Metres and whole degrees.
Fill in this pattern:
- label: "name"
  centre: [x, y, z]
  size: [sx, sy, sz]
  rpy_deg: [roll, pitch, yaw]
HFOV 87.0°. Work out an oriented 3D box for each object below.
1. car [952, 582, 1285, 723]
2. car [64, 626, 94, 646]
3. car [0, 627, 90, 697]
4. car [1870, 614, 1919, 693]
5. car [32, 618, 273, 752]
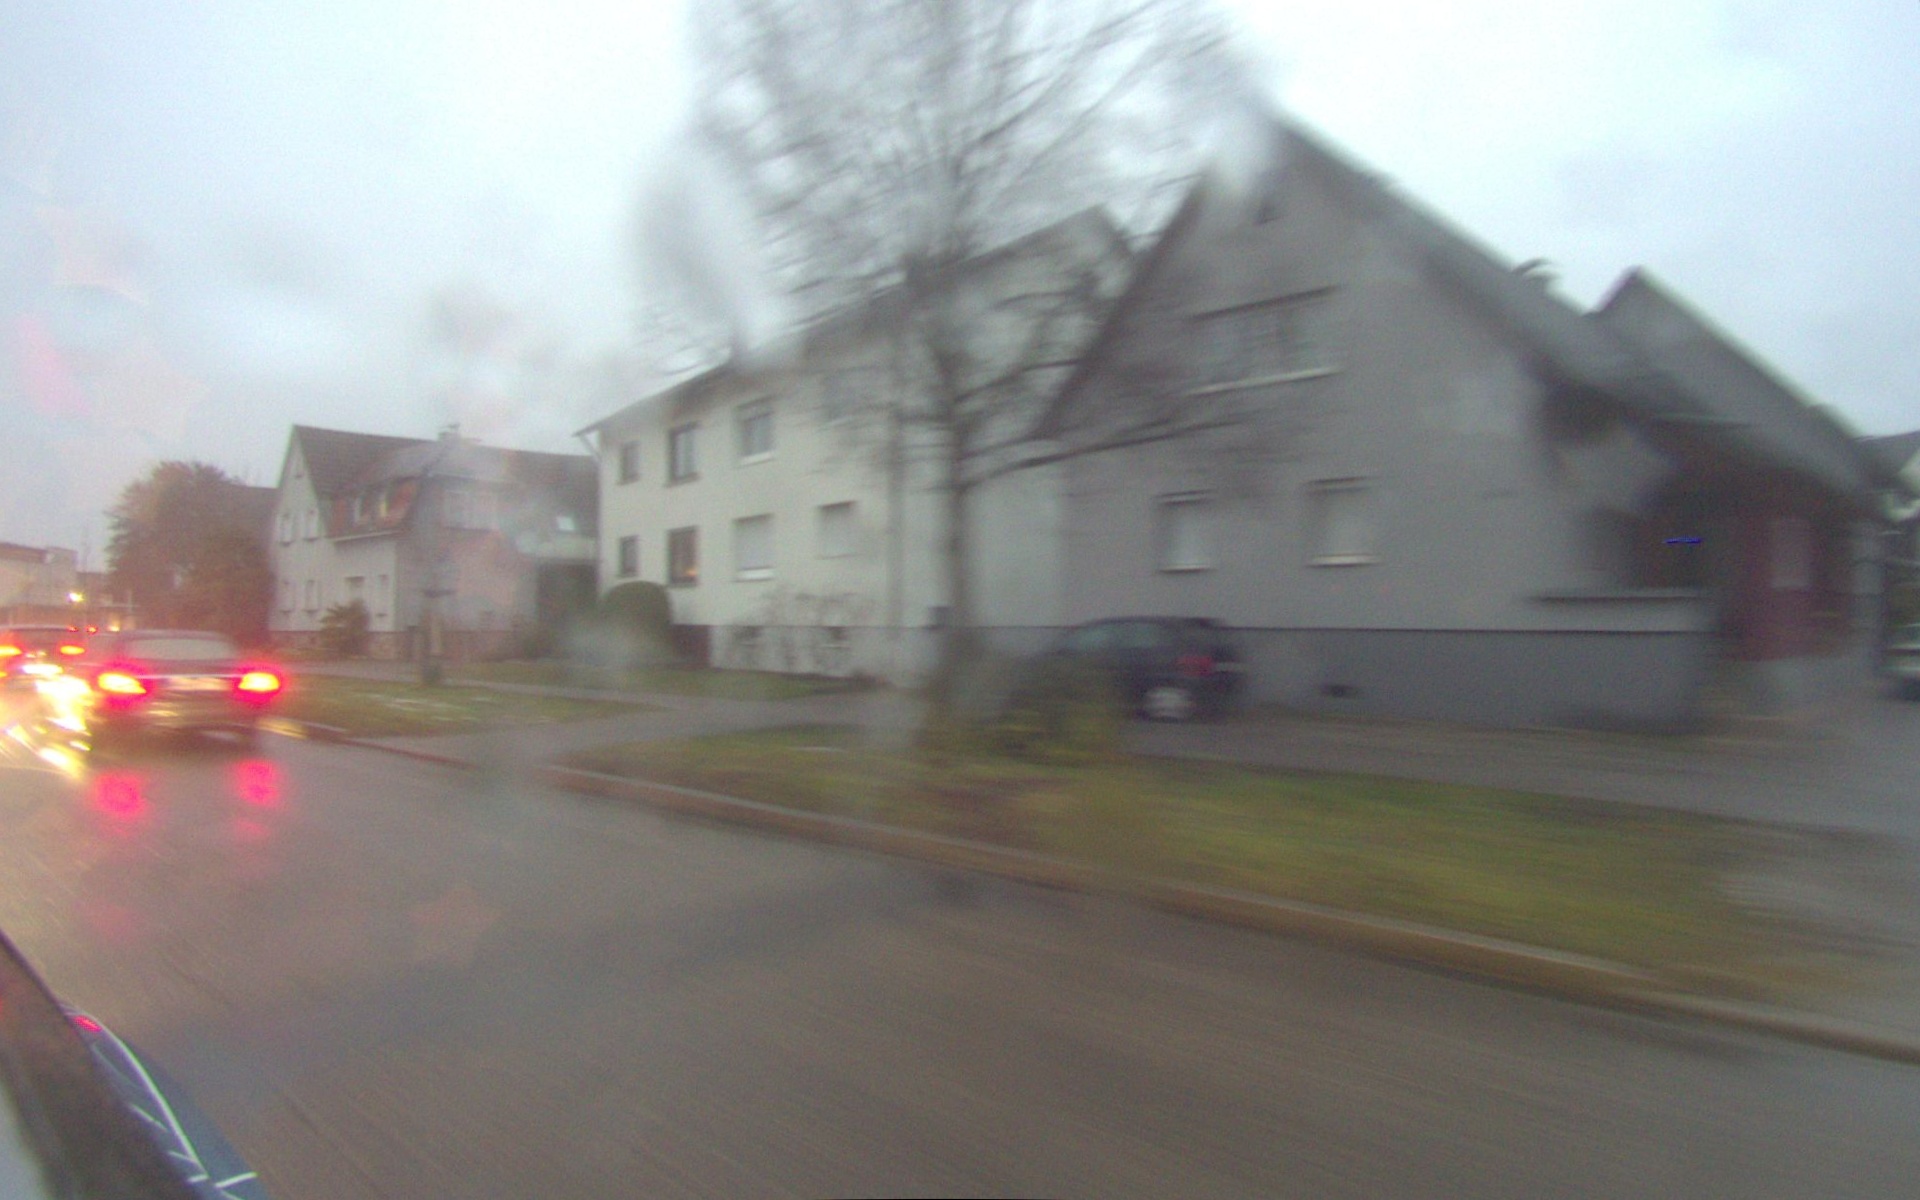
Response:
- label: "car"
  centre: [2.197, 0.707, 14.967]
  size: [4.568, 1.769, 1.971]
  rpy_deg: [-1, -2, 43]
- label: "car"
  centre: [-80.936, 3.325, 93.057]
  size: [1.938, 1.711, 4.007]
  rpy_deg: [0, 0, -39]
- label: "car"
  centre: [-21.062, 1.340, 22.750]
  size: [3.998, 1.452, 1.686]
  rpy_deg: [-1, -3, 41]
- label: "car"
  centre: [18.850, 0.968, 19.146]
  size: [3.940, 1.406, 2.150]
  rpy_deg: [1, -2, -44]
- label: "car"
  centre: [-10.530, 0.969, 13.077]
  size: [4.423, 1.452, 1.686]
  rpy_deg: [-1, -2, 41]
